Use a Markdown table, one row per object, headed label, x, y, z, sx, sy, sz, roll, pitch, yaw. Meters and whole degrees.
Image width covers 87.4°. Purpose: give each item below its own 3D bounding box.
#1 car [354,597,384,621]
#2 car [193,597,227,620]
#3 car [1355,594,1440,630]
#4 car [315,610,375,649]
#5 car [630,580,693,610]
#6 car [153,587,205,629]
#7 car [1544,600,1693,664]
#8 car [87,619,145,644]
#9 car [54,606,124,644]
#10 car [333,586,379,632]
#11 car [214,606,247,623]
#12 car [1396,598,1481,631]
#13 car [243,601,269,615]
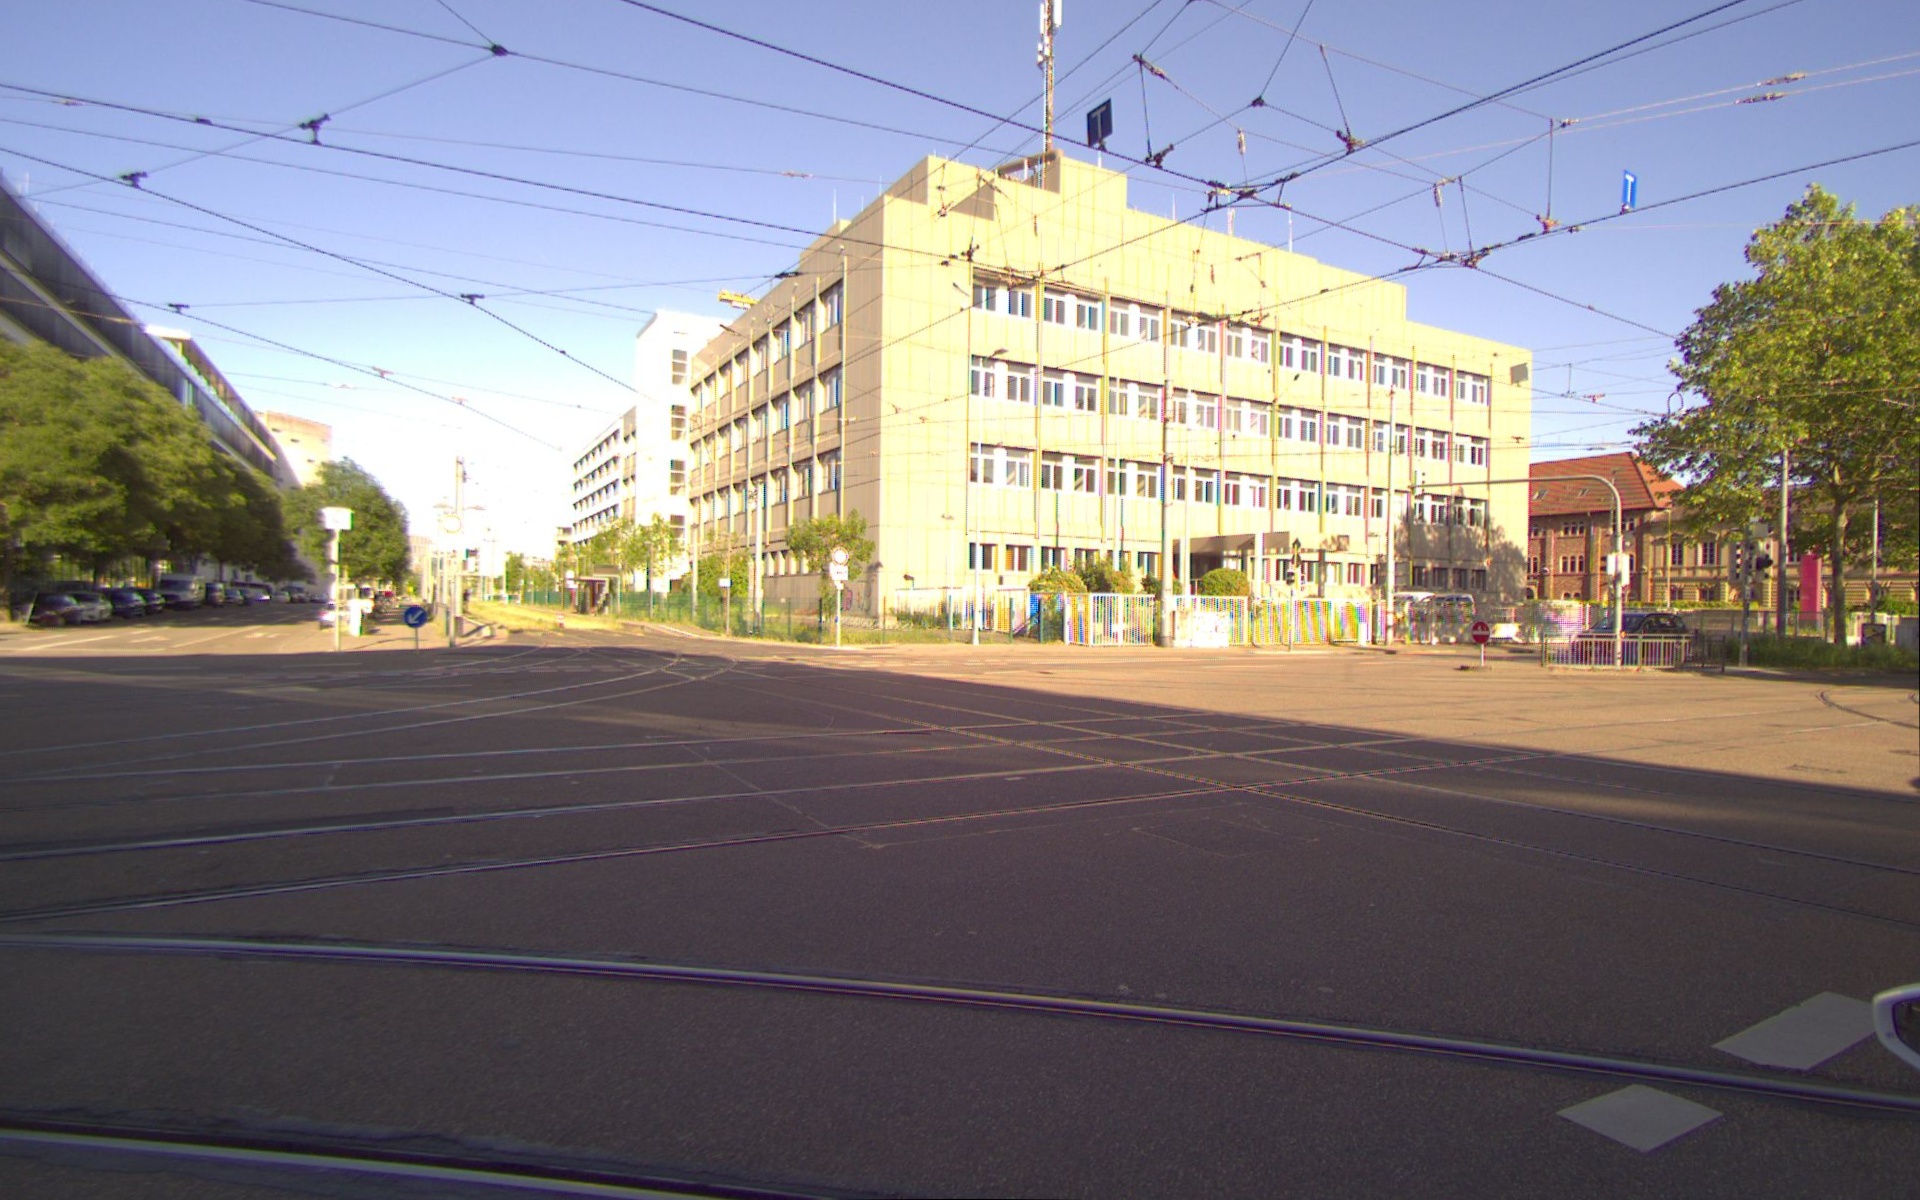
| label | x | y | z | sx | sy | sz | roll | pitch | yaw |
| --- | --- | --- | --- | --- | --- | --- | --- | --- | --- |
| car | -40.997 | 0.599 | 69.644 | 1.734 | 1.579 | 3.916 | 1 | -1 | -32 |
| car | -57.009 | 0.650 | 76.398 | 1.716 | 1.675 | 3.767 | 1 | -1 | -32 |
| car | 25.297 | 0.711 | 58.047 | 4.660 | 2.040 | 1.988 | 1 | -1 | -25 |
| car | -28.425 | 1.348 | 46.412 | 2.088 | 1.720 | 3.931 | 1 | -1 | -36 |
| car | -21.055 | -0.317 | 70.834 | 3.953 | 2.040 | 1.984 | 0 | 0 | -30 |
| car | -52.611 | 0.517 | 67.757 | 2.207 | 2.690 | 5.085 | 1 | -1 | -32 |
| car | 21.232 | 0.997 | 32.392 | 4.361 | 1.974 | 1.989 | 0 | 0 | -23 |
| car | -44.524 | 1.627 | 53.062 | 1.789 | 1.204 | 3.767 | 1 | -1 | -32 |
| car | -40.527 | 1.139 | 46.843 | 1.715 | 1.675 | 3.922 | 1 | -1 | -30 |
| car | -34.770 | 0.529 | 57.799 | 2.158 | 2.539 | 4.363 | 1 | -1 | -32 |
| car | -63.284 | 1.268 | 87.162 | 1.978 | 1.364 | 3.965 | 1 | -1 | -32 |
| car | 26.382 | 0.804 | 55.389 | 4.318 | 1.726 | 1.988 | 1 | -1 | -25 |
| car | -69.640 | 0.789 | 99.436 | 1.870 | 1.364 | 3.965 | 1 | -1 | -32 |
